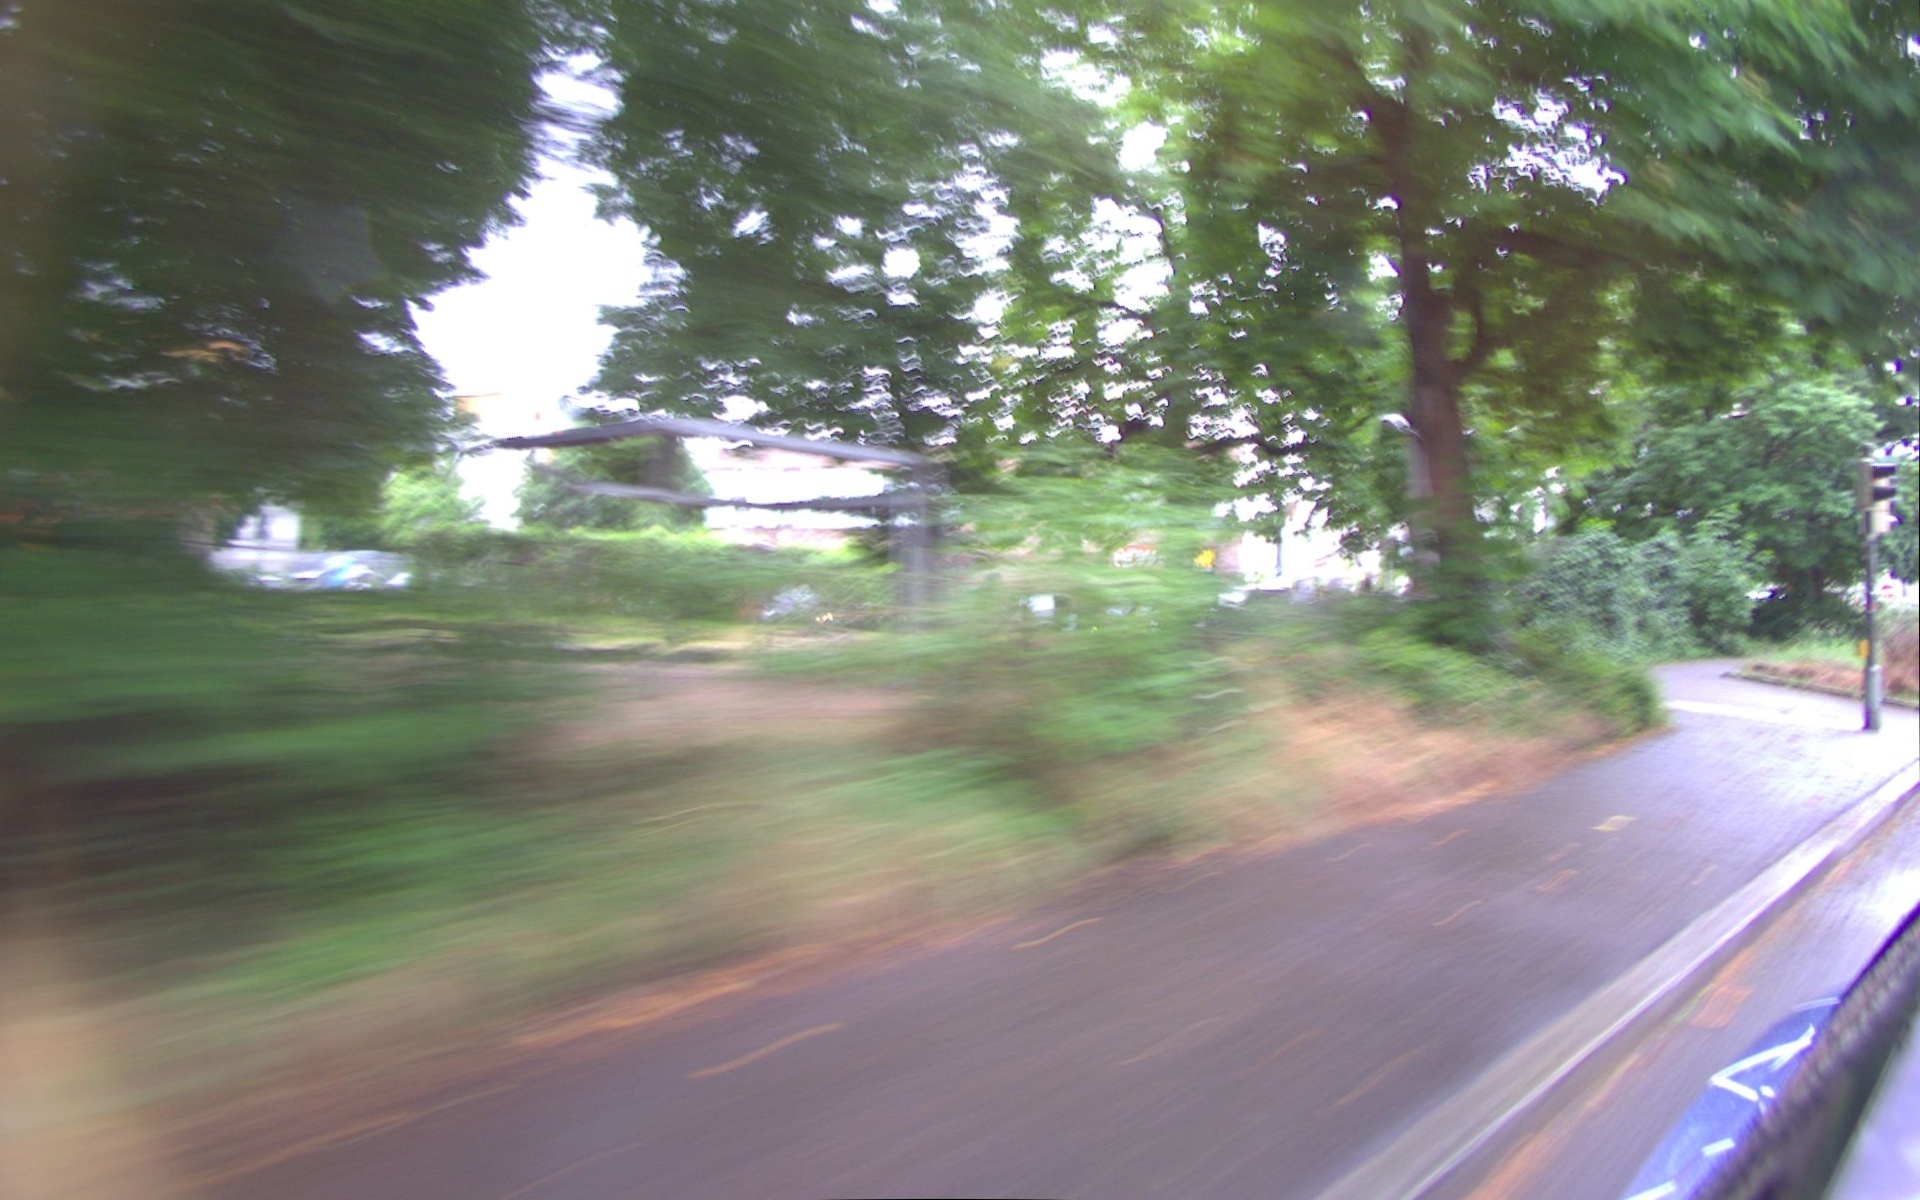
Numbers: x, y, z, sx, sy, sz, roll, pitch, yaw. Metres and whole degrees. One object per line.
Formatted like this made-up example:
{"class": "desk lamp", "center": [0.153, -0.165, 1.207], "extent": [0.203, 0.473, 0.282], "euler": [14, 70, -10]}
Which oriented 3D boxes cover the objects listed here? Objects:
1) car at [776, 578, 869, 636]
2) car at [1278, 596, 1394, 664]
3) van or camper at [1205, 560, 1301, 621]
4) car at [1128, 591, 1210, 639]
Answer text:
{"class": "car", "center": [-4.342, 0.175, 32.504], "extent": [1.966, 1.750, 4.111], "euler": [1, 1, 7]}
{"class": "car", "center": [12.265, 0.975, 33.359], "extent": [1.961, 2.040, 4.509], "euler": [-1, -1, -1]}
{"class": "van or camper", "center": [9.567, -0.337, 33.487], "extent": [1.964, 1.857, 5.176], "euler": [0, 1, 4]}
{"class": "car", "center": [6.721, 0.456, 32.895], "extent": [1.963, 1.483, 3.997], "euler": [0, 0, 2]}
